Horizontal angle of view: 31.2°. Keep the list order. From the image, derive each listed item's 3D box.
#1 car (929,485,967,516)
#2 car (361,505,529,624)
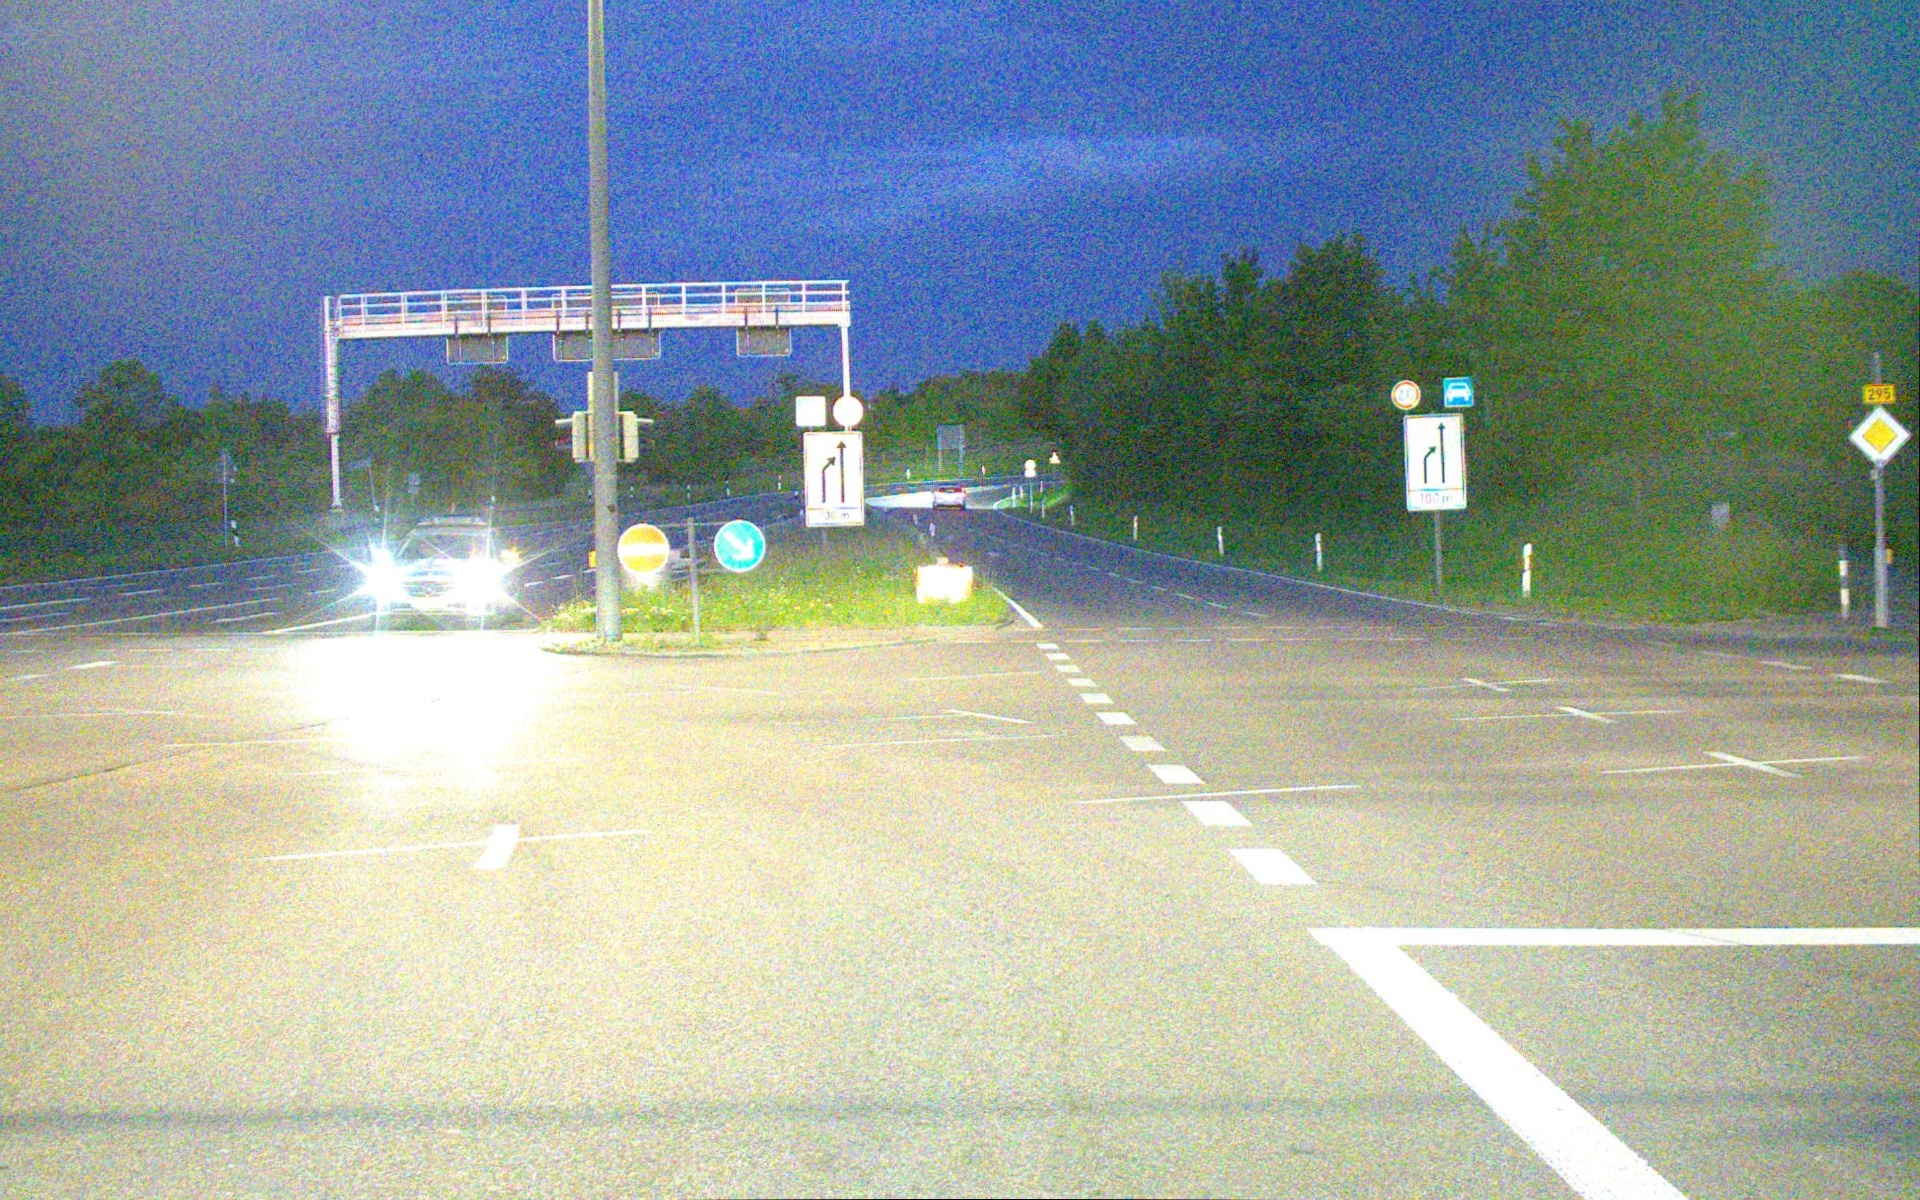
[{"bbox_3d":[-0.647,-5.500,190.800,2.007,1.605,3.845,0,0,2],"label":"car"},{"bbox_3d":[-7.593,-0.555,51.049,1.993,1.692,4.001,0,1,-2],"label":"car"}]
